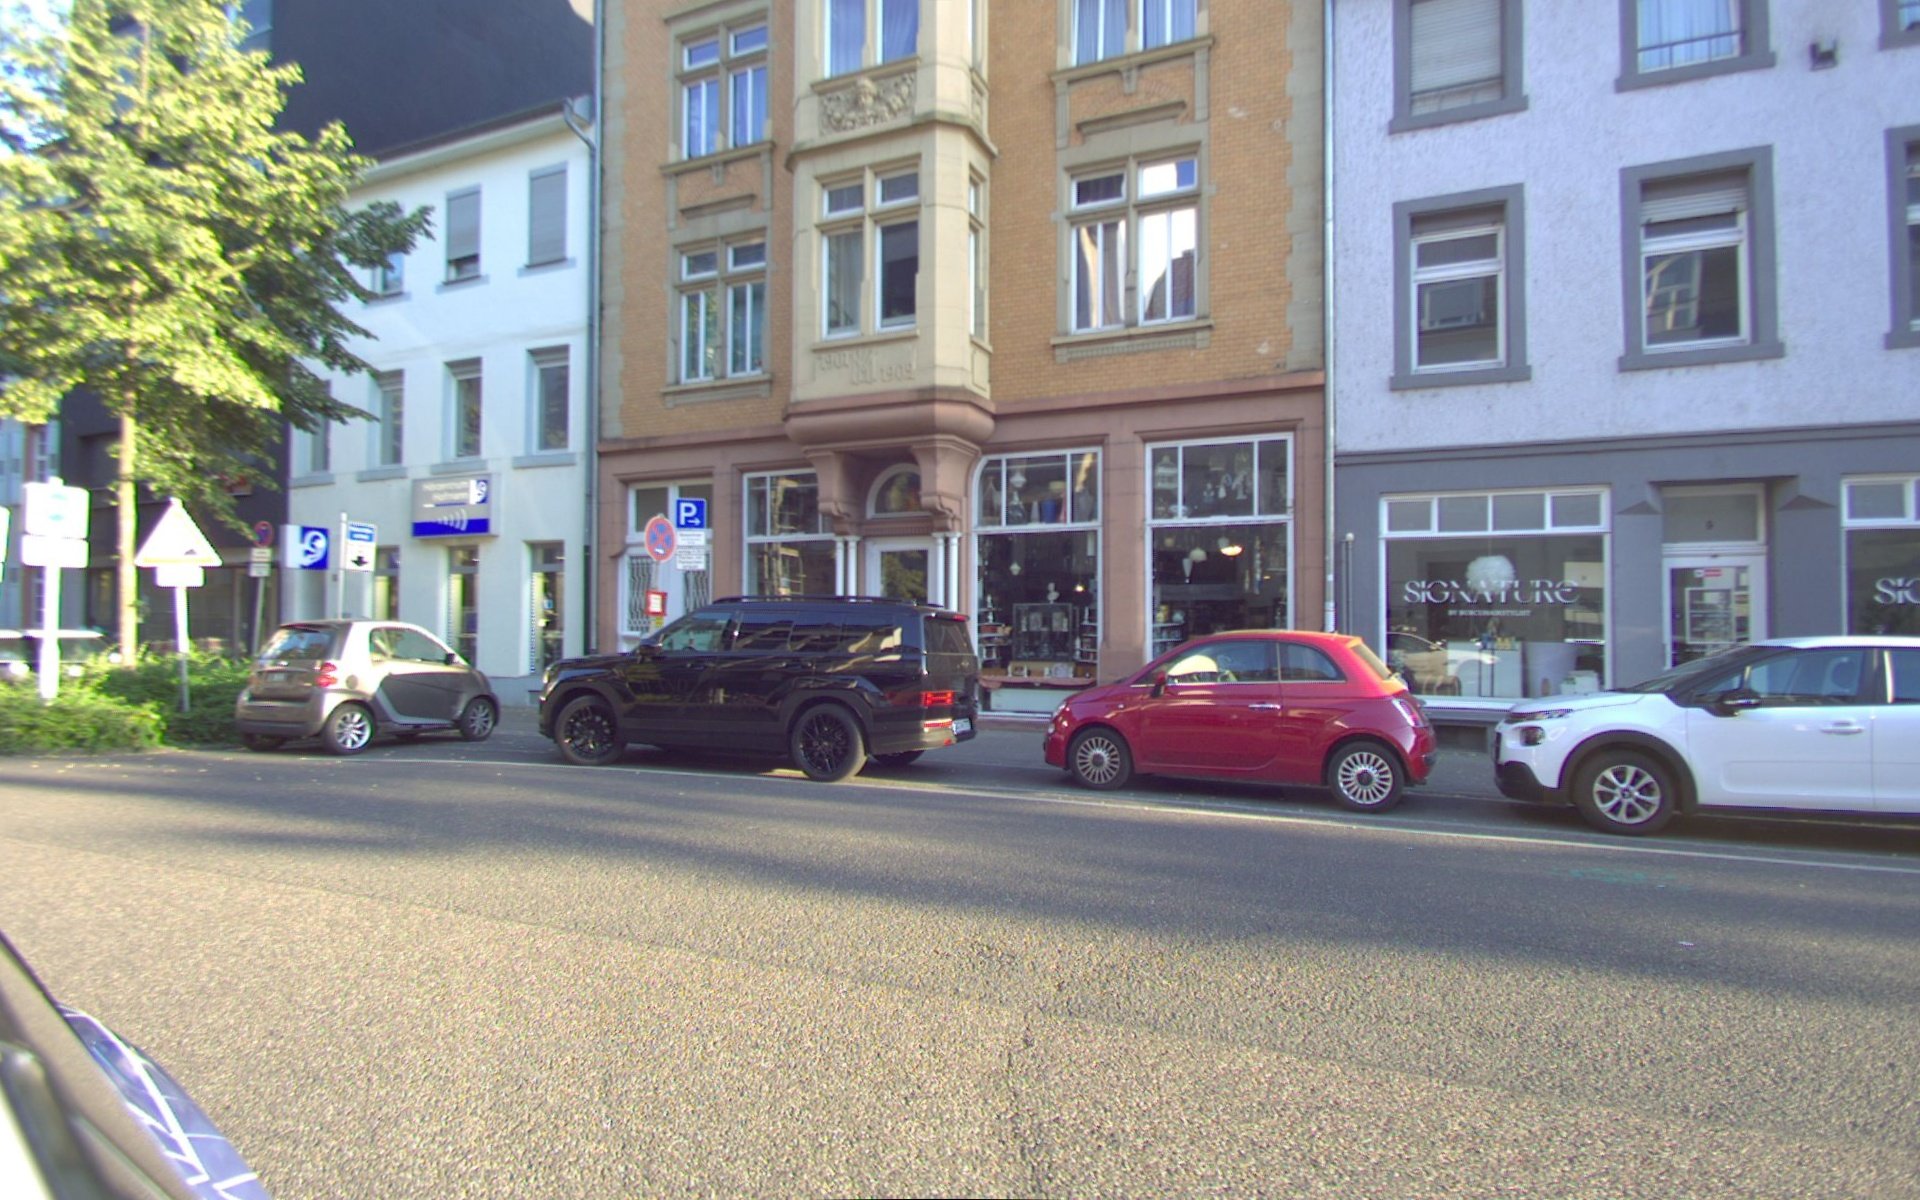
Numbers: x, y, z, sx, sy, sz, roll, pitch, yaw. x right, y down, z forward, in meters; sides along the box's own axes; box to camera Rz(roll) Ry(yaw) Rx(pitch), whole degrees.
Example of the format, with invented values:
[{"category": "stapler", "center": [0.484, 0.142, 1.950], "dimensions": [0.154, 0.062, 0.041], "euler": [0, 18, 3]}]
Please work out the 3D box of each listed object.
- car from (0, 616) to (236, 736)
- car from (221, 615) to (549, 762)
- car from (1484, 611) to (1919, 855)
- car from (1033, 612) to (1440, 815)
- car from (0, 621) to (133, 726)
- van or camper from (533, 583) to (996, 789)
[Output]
[{"category": "car", "center": [-13.982, 1.158, 15.774], "dimensions": [1.845, 1.683, 3.979], "euler": [-1, -4, 21]}, {"category": "car", "center": [-7.079, 1.028, 12.847], "dimensions": [1.497, 1.588, 3.456], "euler": [-1, -2, 21]}, {"category": "car", "center": [6.193, 0.920, 7.561], "dimensions": [3.911, 1.585, 1.653], "euler": [-1, -4, 25]}, {"category": "car", "center": [2.531, 0.947, 9.358], "dimensions": [3.402, 1.582, 1.517], "euler": [-1, -3, 25]}, {"category": "car", "center": [-16.320, 1.199, 16.688], "dimensions": [1.845, 1.683, 3.670], "euler": [-1, -4, 21]}, {"category": "van or camper", "center": [-1.995, 0.822, 10.596], "dimensions": [4.425, 1.821, 1.884], "euler": [-1, -3, 19]}]
